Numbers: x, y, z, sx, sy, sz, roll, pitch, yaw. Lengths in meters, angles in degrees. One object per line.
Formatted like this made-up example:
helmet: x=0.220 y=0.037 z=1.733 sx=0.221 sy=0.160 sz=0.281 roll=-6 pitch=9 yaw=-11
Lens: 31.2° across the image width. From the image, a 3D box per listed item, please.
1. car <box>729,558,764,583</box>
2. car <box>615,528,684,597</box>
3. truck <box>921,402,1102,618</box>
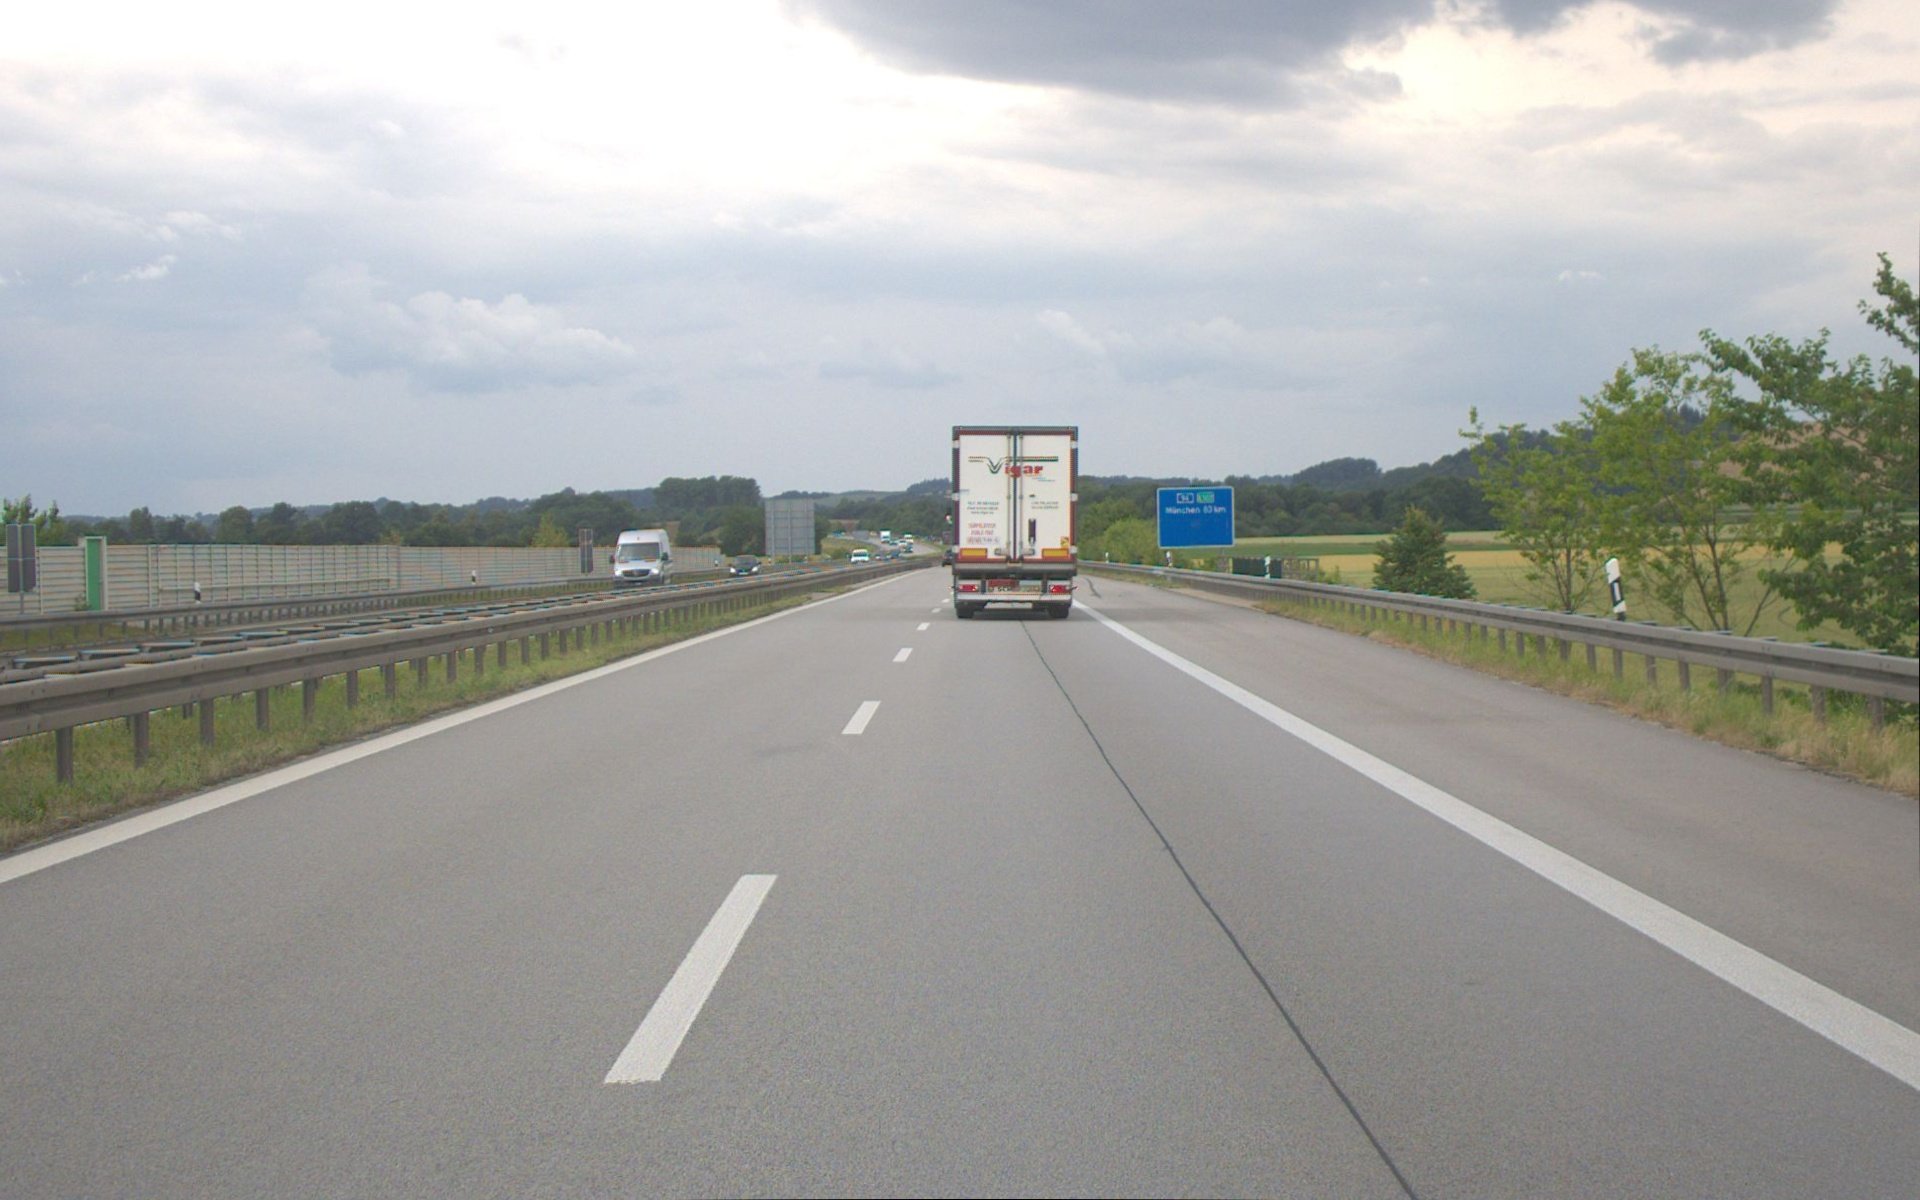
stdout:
car: x=-12.174 y=-1.677 z=196.196 sx=1.670 sy=1.381 sz=4.000 roll=-2 pitch=1 yaw=0
car: x=-12.537 y=-1.502 z=139.151 sx=2.070 sy=2.594 sz=6.289 roll=-4 pitch=0 yaw=0
truck: x=0.985 y=-1.984 z=78.636 sx=3.672 sy=4.397 sz=16.342 roll=0 pitch=1 yaw=-1
